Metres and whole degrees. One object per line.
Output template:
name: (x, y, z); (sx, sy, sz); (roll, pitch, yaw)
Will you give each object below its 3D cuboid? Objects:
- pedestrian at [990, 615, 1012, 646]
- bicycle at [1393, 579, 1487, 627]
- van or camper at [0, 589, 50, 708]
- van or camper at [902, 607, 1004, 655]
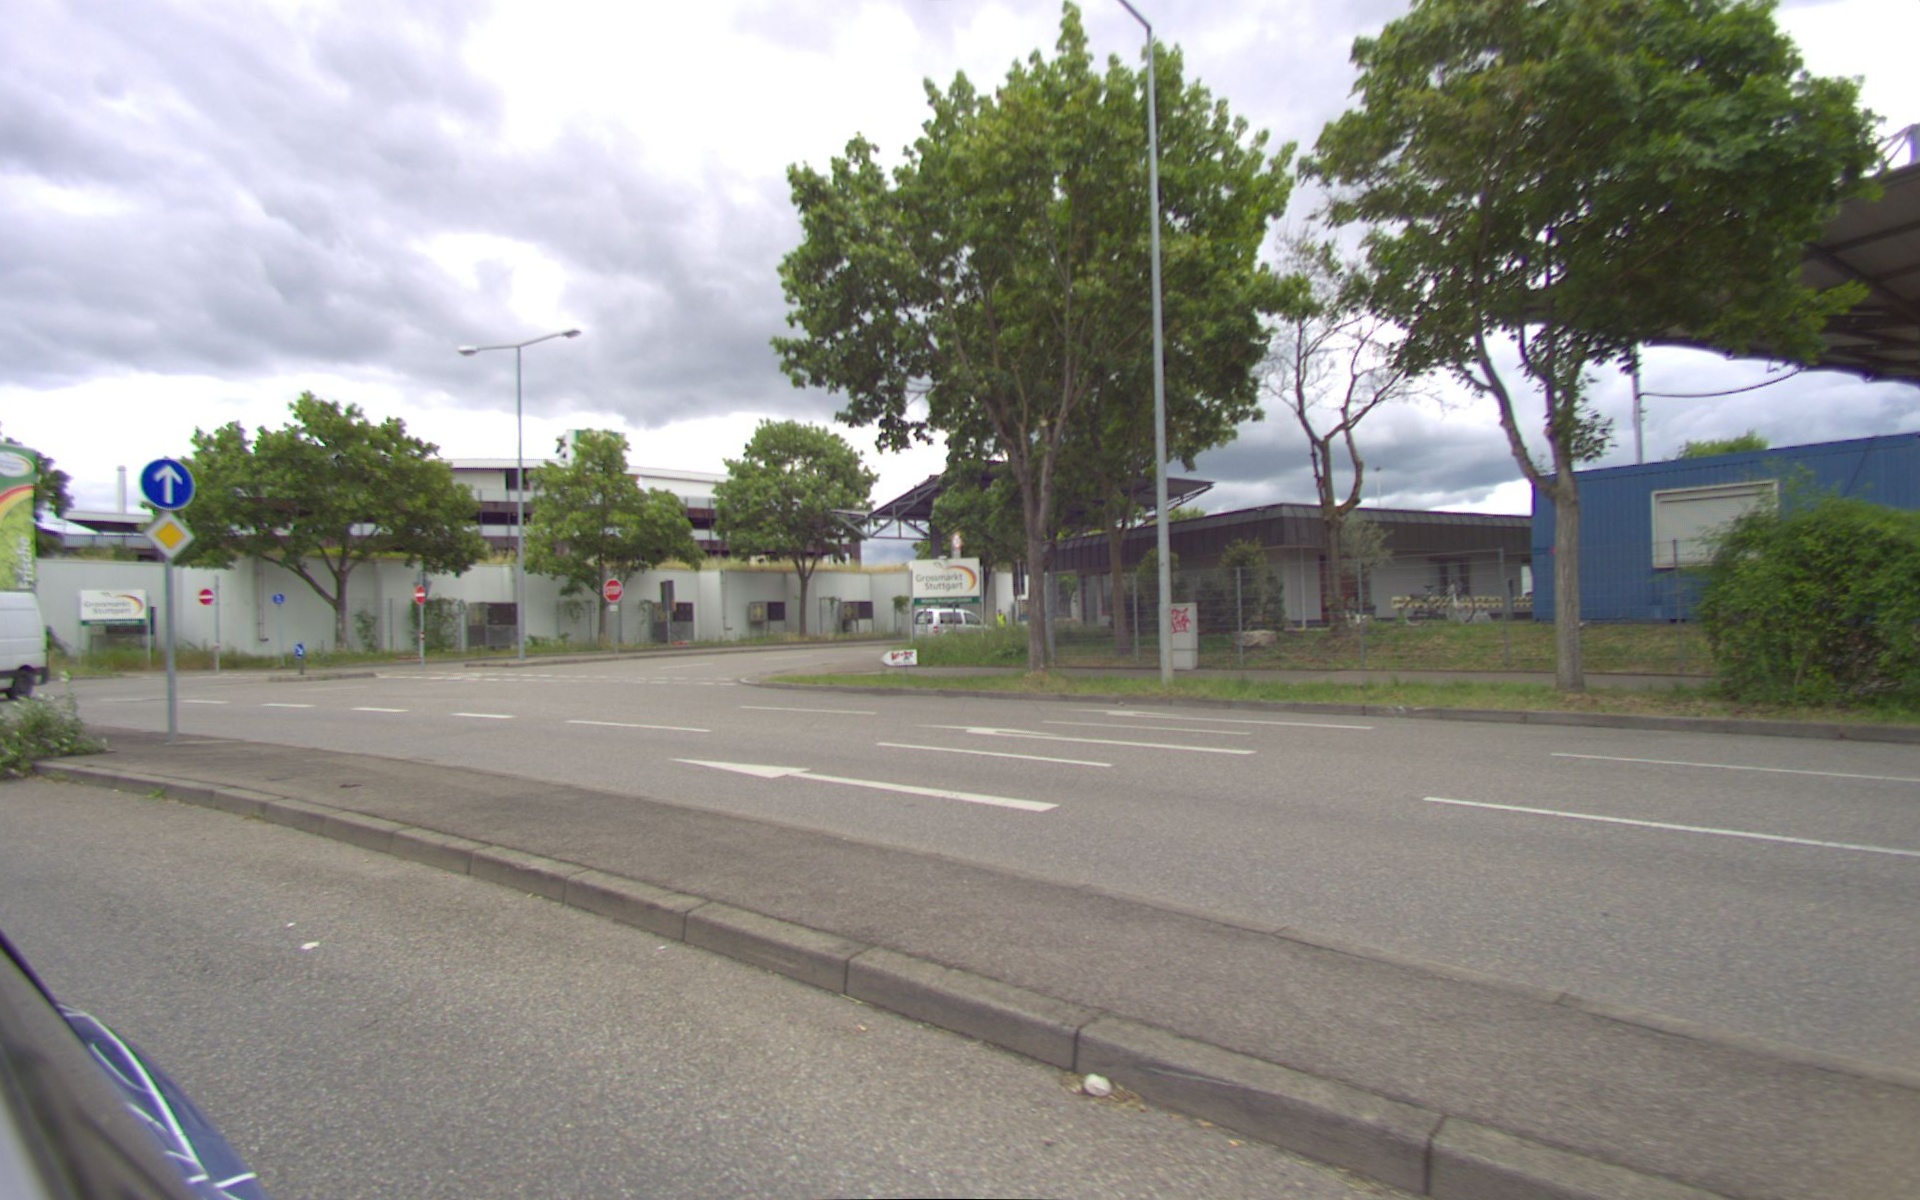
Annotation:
pedestrian: (2.095, 1.546, 51.744); (0.804, 1.571, 0.770); (1, -3, -42)
bicycle: (10.686, 0.076, 22.589); (0.652, 0.982, 1.766); (0, -3, -33)
van or camper: (-21.639, 1.036, 20.354); (2.235, 2.576, 6.123); (-1, -1, -12)
van or camper: (-0.282, 1.362, 45.638); (4.207, 1.978, 1.962); (-1, -1, -38)
